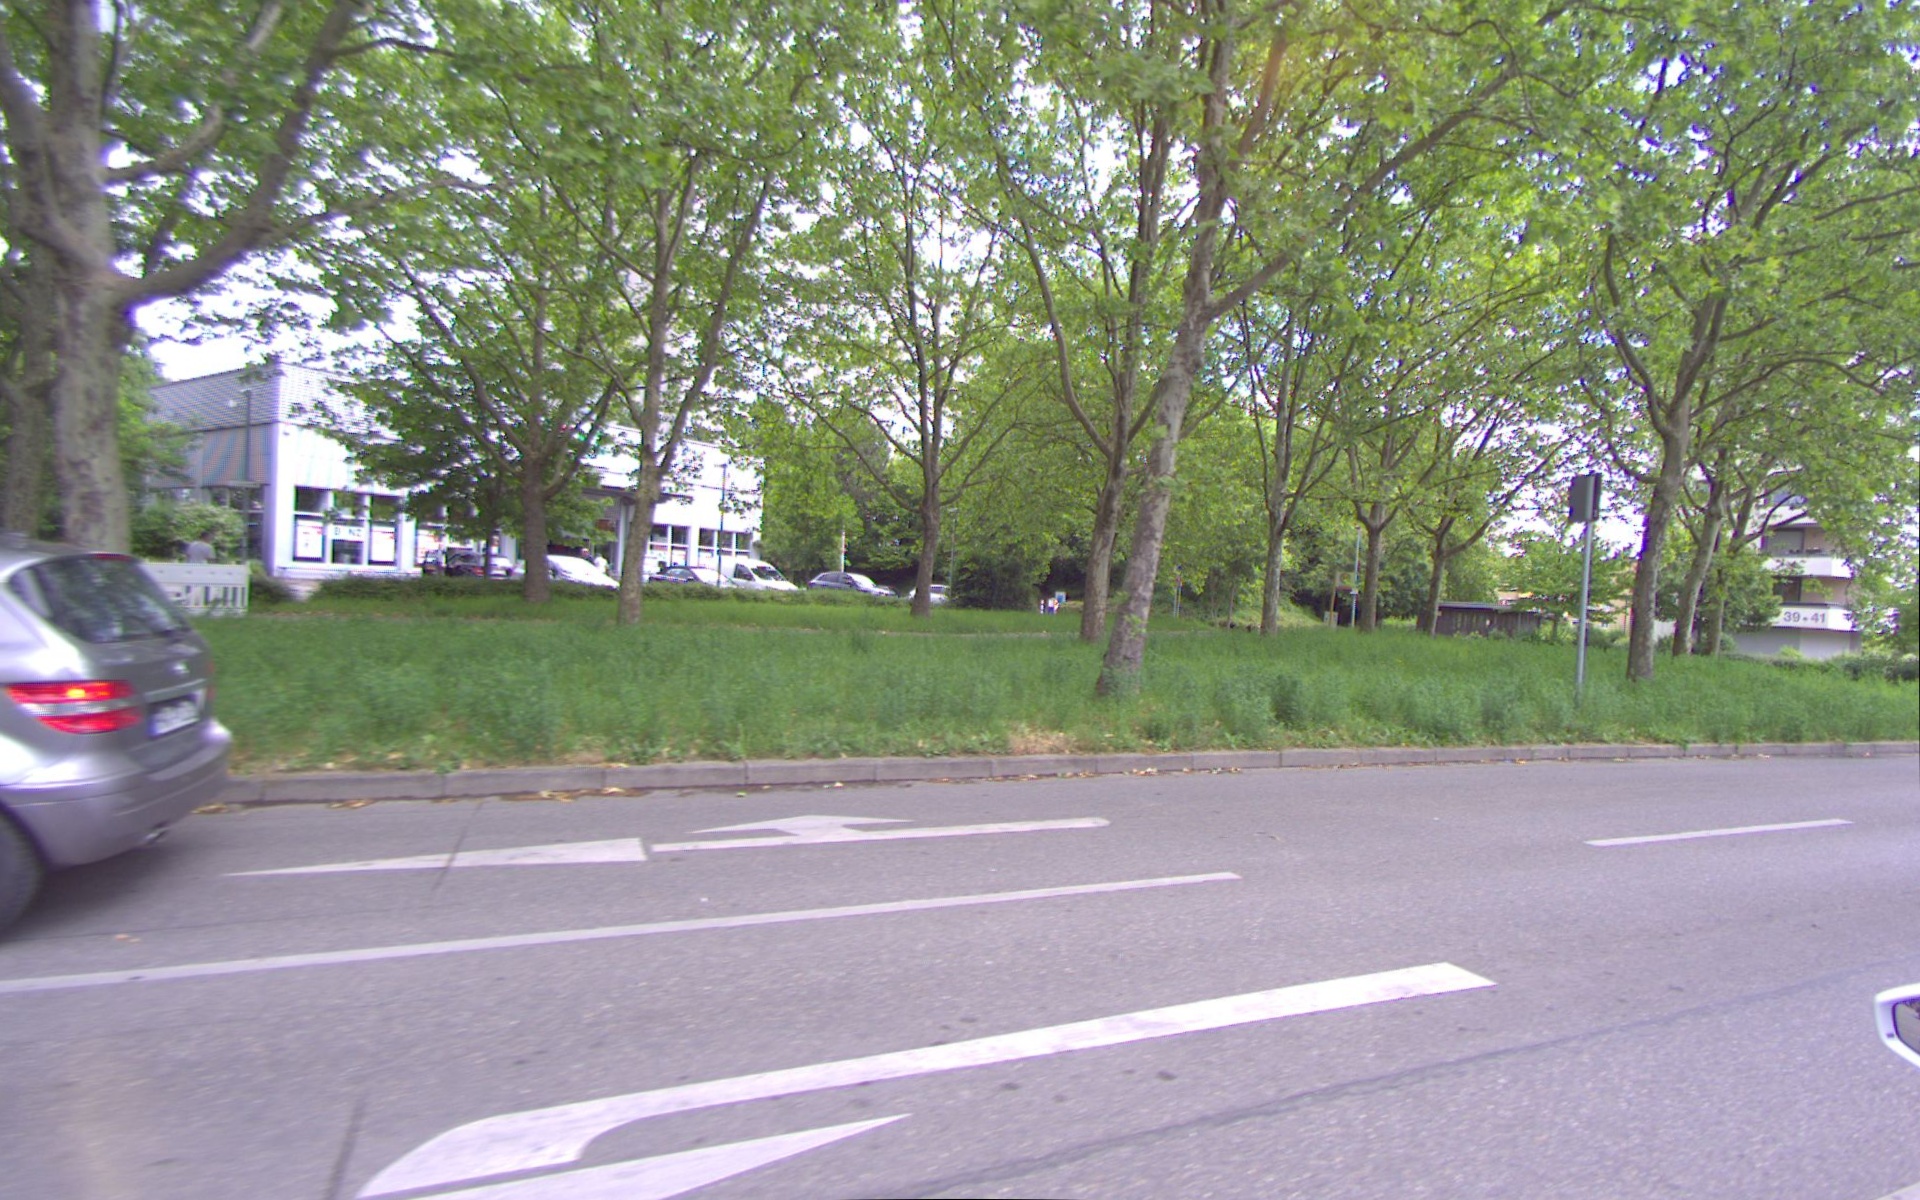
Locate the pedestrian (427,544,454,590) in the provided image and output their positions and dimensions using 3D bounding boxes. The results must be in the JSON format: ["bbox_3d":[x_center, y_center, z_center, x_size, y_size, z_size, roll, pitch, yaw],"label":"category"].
[{"bbox_3d":[-20.348,-1.277,39.330,0.727,1.768,0.618,2,0,34],"label":"pedestrian"}]

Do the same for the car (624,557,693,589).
[{"bbox_3d":[-14.406,-1.284,47.939,3.355,1.423,1.479,2,0,38],"label":"car"}]

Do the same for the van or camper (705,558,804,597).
[{"bbox_3d":[-7.796,-0.853,37.952,3.713,1.374,1.513,2,0,36],"label":"van or camper"}]

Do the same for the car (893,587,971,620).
[{"bbox_3d":[-1.412,0.146,49.780,3.691,1.520,1.725,2,0,42],"label":"car"}]

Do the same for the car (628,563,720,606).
[{"bbox_3d":[-10.112,-0.555,35.425,3.356,1.423,1.478,2,0,39],"label":"car"}]

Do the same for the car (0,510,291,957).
[{"bbox_3d":[-5.315,0.420,3.768,4.349,1.607,1.763,2,0,-23],"label":"car"}]

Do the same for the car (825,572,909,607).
[{"bbox_3d":[-3.975,-0.452,42.727,3.197,1.272,1.689,4,0,37],"label":"car"}]

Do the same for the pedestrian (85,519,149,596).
[{"bbox_3d":[-17.794,-0.888,21.223,0.757,1.559,0.655,2,0,1],"label":"pedestrian"}]

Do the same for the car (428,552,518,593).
[{"bbox_3d":[-19.343,-1.082,39.825,4.207,1.520,1.725,2,0,42],"label":"car"}]

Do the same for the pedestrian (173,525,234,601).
[{"bbox_3d":[-16.717,-0.805,22.207,0.783,1.607,0.848,2,0,-16],"label":"pedestrian"}]

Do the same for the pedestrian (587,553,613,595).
[{"bbox_3d":[-16.805,-1.186,46.871,1.060,1.896,1.054,2,0,-21],"label":"pedestrian"}]

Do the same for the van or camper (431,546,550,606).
[{"bbox_3d":[-14.328,-0.739,30.571,3.941,1.706,1.837,3,1,41],"label":"van or camper"}]

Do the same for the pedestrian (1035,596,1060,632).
[{"bbox_3d":[5.036,0.776,57.856,0.970,1.976,1.080,4,0,-18],"label":"pedestrian"}]

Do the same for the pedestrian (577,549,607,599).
[{"bbox_3d":[-12.357,-0.869,33.718,0.787,1.607,0.793,2,0,-30],"label":"pedestrian"}]

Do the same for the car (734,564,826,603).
[{"bbox_3d":[-7.325,-0.667,40.762,3.831,1.485,1.479,2,0,38],"label":"car"}]
